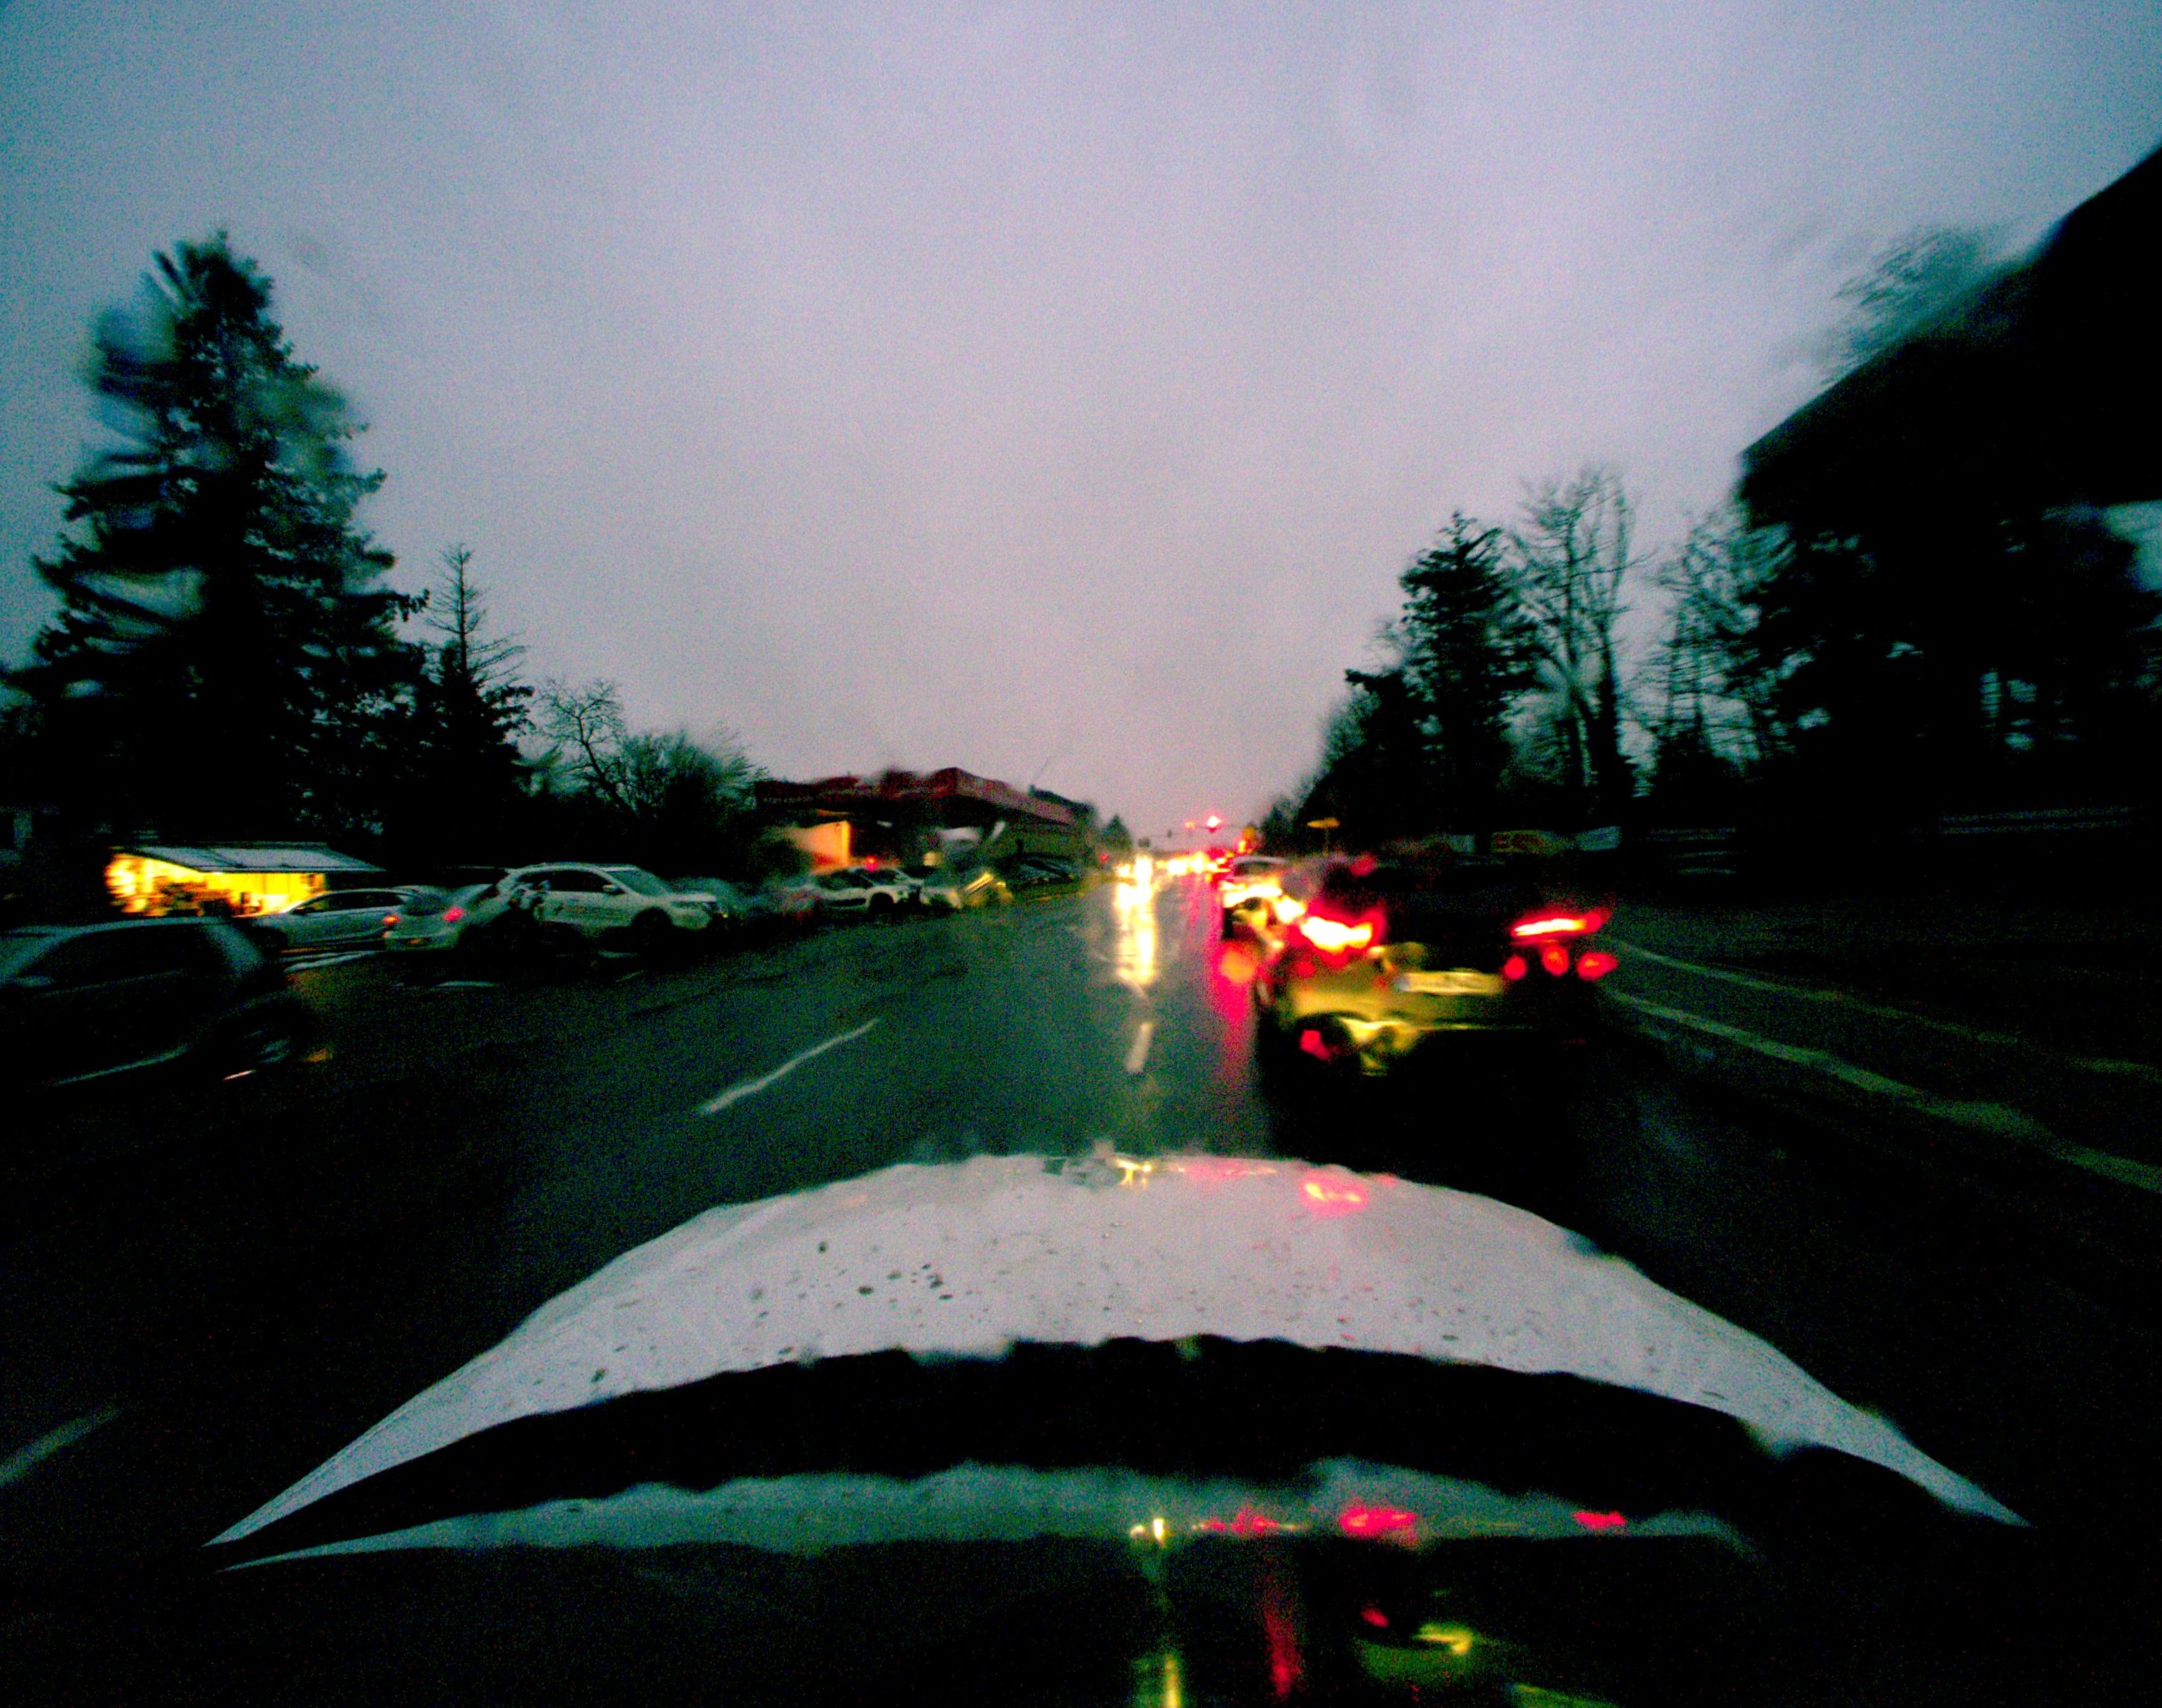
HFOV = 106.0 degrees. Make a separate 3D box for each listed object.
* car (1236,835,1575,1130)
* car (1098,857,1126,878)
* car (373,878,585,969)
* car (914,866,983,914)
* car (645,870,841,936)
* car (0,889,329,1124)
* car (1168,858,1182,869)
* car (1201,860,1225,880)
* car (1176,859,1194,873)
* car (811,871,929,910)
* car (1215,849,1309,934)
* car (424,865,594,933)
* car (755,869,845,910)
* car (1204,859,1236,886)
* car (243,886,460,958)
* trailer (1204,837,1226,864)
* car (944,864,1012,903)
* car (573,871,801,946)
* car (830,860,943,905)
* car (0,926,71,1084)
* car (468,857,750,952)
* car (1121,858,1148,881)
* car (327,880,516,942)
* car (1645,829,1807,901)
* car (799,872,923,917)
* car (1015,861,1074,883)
[{"bbox_3d":[2.079,0.698,6.323,1.556,1.529,4.016,-2,-1,9],"label":"car"},{"bbox_3d":[2.947,1.249,76.784,1.959,1.830,4.523,-4,-1,8],"label":"car"},{"bbox_3d":[-13.160,1.441,18.112,1.660,1.676,3.713,-2,0,6],"label":"car"},{"bbox_3d":[-4.726,1.260,29.369,1.509,1.543,3.022,-4,-1,8],"label":"car"},{"bbox_3d":[-8.717,1.240,21.175,4.310,1.498,1.830,-2,0,8],"label":"car"},{"bbox_3d":[-8.451,1.211,6.842,1.163,1.644,2.883,-3,0,17],"label":"car"},{"bbox_3d":[16.694,1.659,144.433,1.980,1.746,4.013,-4,-1,12],"label":"car"},{"bbox_3d":[9.687,1.126,59.879,1.644,1.336,4.282,-2,-1,9],"label":"car"},{"bbox_3d":[12.877,1.506,101.268,2.037,1.573,4.710,-3,-1,6],"label":"car"},{"bbox_3d":[-7.920,1.354,30.735,3.837,1.346,1.844,-1,-1,7],"label":"car"},{"bbox_3d":[3.845,0.729,17.914,1.698,1.576,4.475,-2,-1,9],"label":"car"},{"bbox_3d":[-17.653,1.368,25.225,3.964,1.922,1.963,-2,0,8],"label":"car"},{"bbox_3d":[-11.468,1.432,33.544,1.823,1.489,3.881,-1,0,10],"label":"car"},{"bbox_3d":[7.789,1.009,45.928,1.631,1.366,4.780,-2,-1,9],"label":"car"},{"bbox_3d":[-17.151,1.526,19.275,1.653,1.384,3.646,-2,-1,41],"label":"car"},{"bbox_3d":[16.747,-0.349,102.302,2.474,3.241,10.892,-2,-1,8],"label":"trailer"},{"bbox_3d":[-4.142,1.169,33.391,1.672,1.421,3.751,-2,-1,10],"label":"car"},{"bbox_3d":[-8.985,1.233,18.747,4.308,1.498,2.001,-2,0,11],"label":"car"},{"bbox_3d":[-7.970,1.171,33.549,4.022,1.650,1.947,-2,-1,10],"label":"car"},{"bbox_3d":[-12.494,1.589,7.415,4.731,1.437,1.786,-4,-1,6],"label":"car"},{"bbox_3d":[-9.408,0.969,16.477,4.514,1.676,2.013,-2,0,4],"label":"car"},{"bbox_3d":[4.030,1.159,60.895,1.594,1.534,4.009,-4,-1,8],"label":"car"},{"bbox_3d":[-18.145,1.541,22.487,3.964,1.510,1.794,-2,0,8],"label":"car"},{"bbox_3d":[16.434,0.247,20.697,4.502,1.608,1.998,-2,-1,-35],"label":"car"},{"bbox_3d":[-7.677,1.401,28.575,3.753,1.459,1.779,-1,0,5],"label":"car"},{"bbox_3d":[-2.840,1.370,63.849,4.252,1.662,2.005,0,0,8],"label":"car"}]
